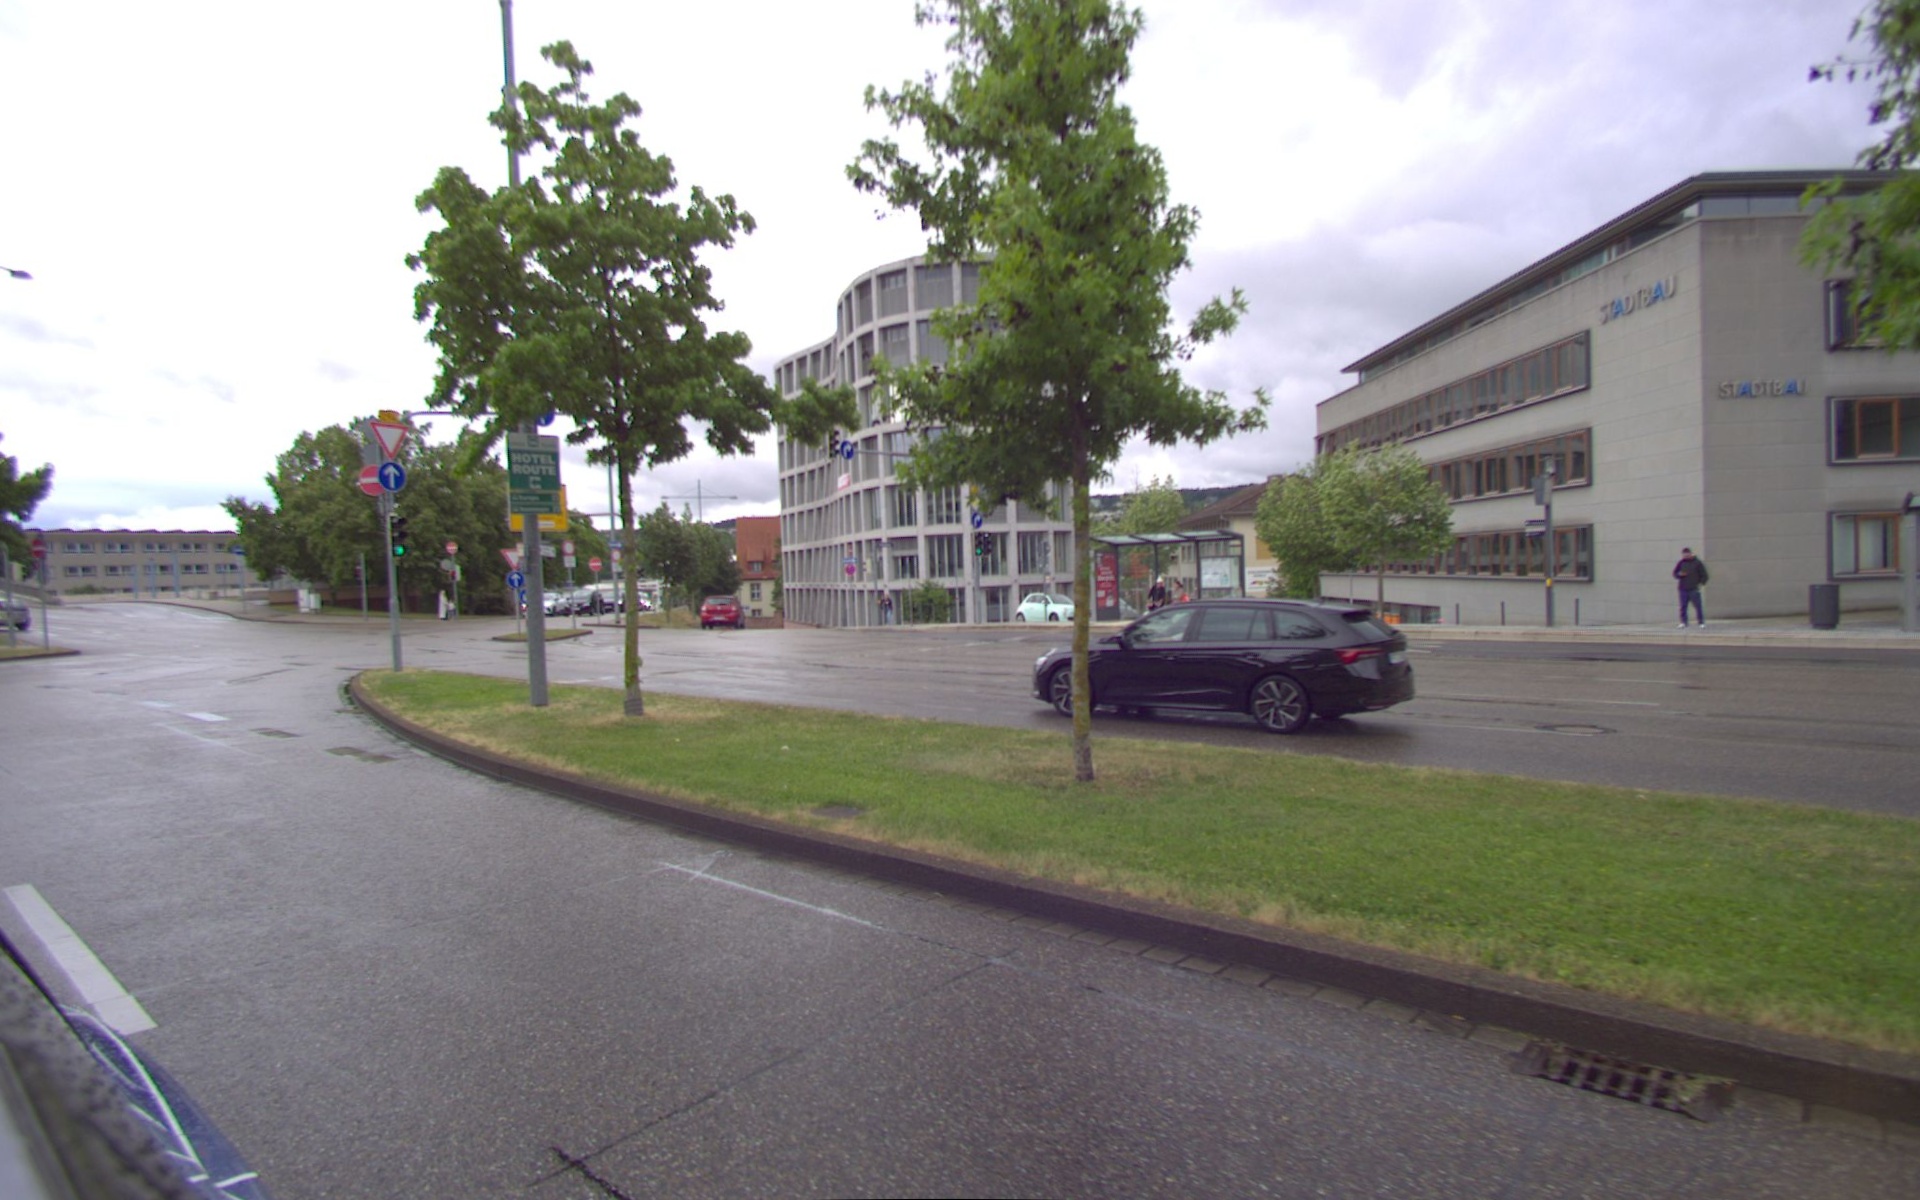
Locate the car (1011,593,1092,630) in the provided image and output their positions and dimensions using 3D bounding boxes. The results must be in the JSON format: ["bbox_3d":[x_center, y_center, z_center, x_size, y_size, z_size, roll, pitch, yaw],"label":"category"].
[{"bbox_3d":[3.946,0.492,44.247,1.606,1.507,3.591,-1,1,-34],"label":"car"}]

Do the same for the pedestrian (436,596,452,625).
[{"bbox_3d":[-28.644,0.581,56.192,0.643,1.582,0.632,0,1,-41],"label":"pedestrian"}]

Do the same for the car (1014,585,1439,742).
[{"bbox_3d":[3.022,0.640,12.096,4.633,1.539,1.664,-1,1,38],"label":"car"}]

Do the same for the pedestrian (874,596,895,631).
[{"bbox_3d":[-3.577,0.627,47.840,0.704,1.595,0.665,0,2,38],"label":"pedestrian"}]

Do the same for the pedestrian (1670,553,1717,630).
[{"bbox_3d":[16.352,-0.188,22.572,0.468,1.696,0.764,-1,0,-43],"label":"pedestrian"}]

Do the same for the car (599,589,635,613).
[{"bbox_3d":[-24.421,0.041,72.194,1.701,1.579,3.845,-1,1,-7],"label":"car"}]

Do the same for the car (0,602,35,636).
[{"bbox_3d":[-43.799,0.814,45.159,3.829,1.459,1.634,0,1,7],"label":"car"}]

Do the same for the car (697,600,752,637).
[{"bbox_3d":[-10.721,0.810,46.321,1.801,1.563,4.036,-1,0,-4],"label":"car"}]

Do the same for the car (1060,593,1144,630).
[{"bbox_3d":[6.168,0.479,44.315,1.606,1.507,3.591,-1,1,-34],"label":"car"}]

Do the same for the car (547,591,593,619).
[{"bbox_3d":[-23.354,0.259,60.766,1.701,1.579,3.845,-1,1,-7],"label":"car"}]

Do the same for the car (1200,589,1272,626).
[{"bbox_3d":[12.108,0.306,44.640,1.606,1.507,3.591,-1,1,-11],"label":"car"}]

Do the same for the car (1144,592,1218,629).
[{"bbox_3d":[9.548,0.419,44.058,1.737,1.507,3.797,-1,1,-11],"label":"car"}]

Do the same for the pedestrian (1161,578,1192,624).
[{"bbox_3d":[6.729,0.020,31.443,0.720,1.402,0.672,-1,1,38],"label":"pedestrian"}]

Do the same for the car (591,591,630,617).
[{"bbox_3d":[-23.305,0.238,67.572,1.701,1.579,3.845,-1,1,-7],"label":"car"}]

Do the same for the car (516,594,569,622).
[{"bbox_3d":[-25.741,0.450,62.547,1.859,1.579,4.147,-1,1,-6],"label":"car"}]

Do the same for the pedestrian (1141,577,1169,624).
[{"bbox_3d":[6.172,0.012,32.036,0.625,1.480,0.672,-1,1,38],"label":"pedestrian"}]

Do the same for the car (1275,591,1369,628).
[{"bbox_3d":[15.621,0.410,43.814,1.605,1.507,3.593,-1,1,-31],"label":"car"}]
